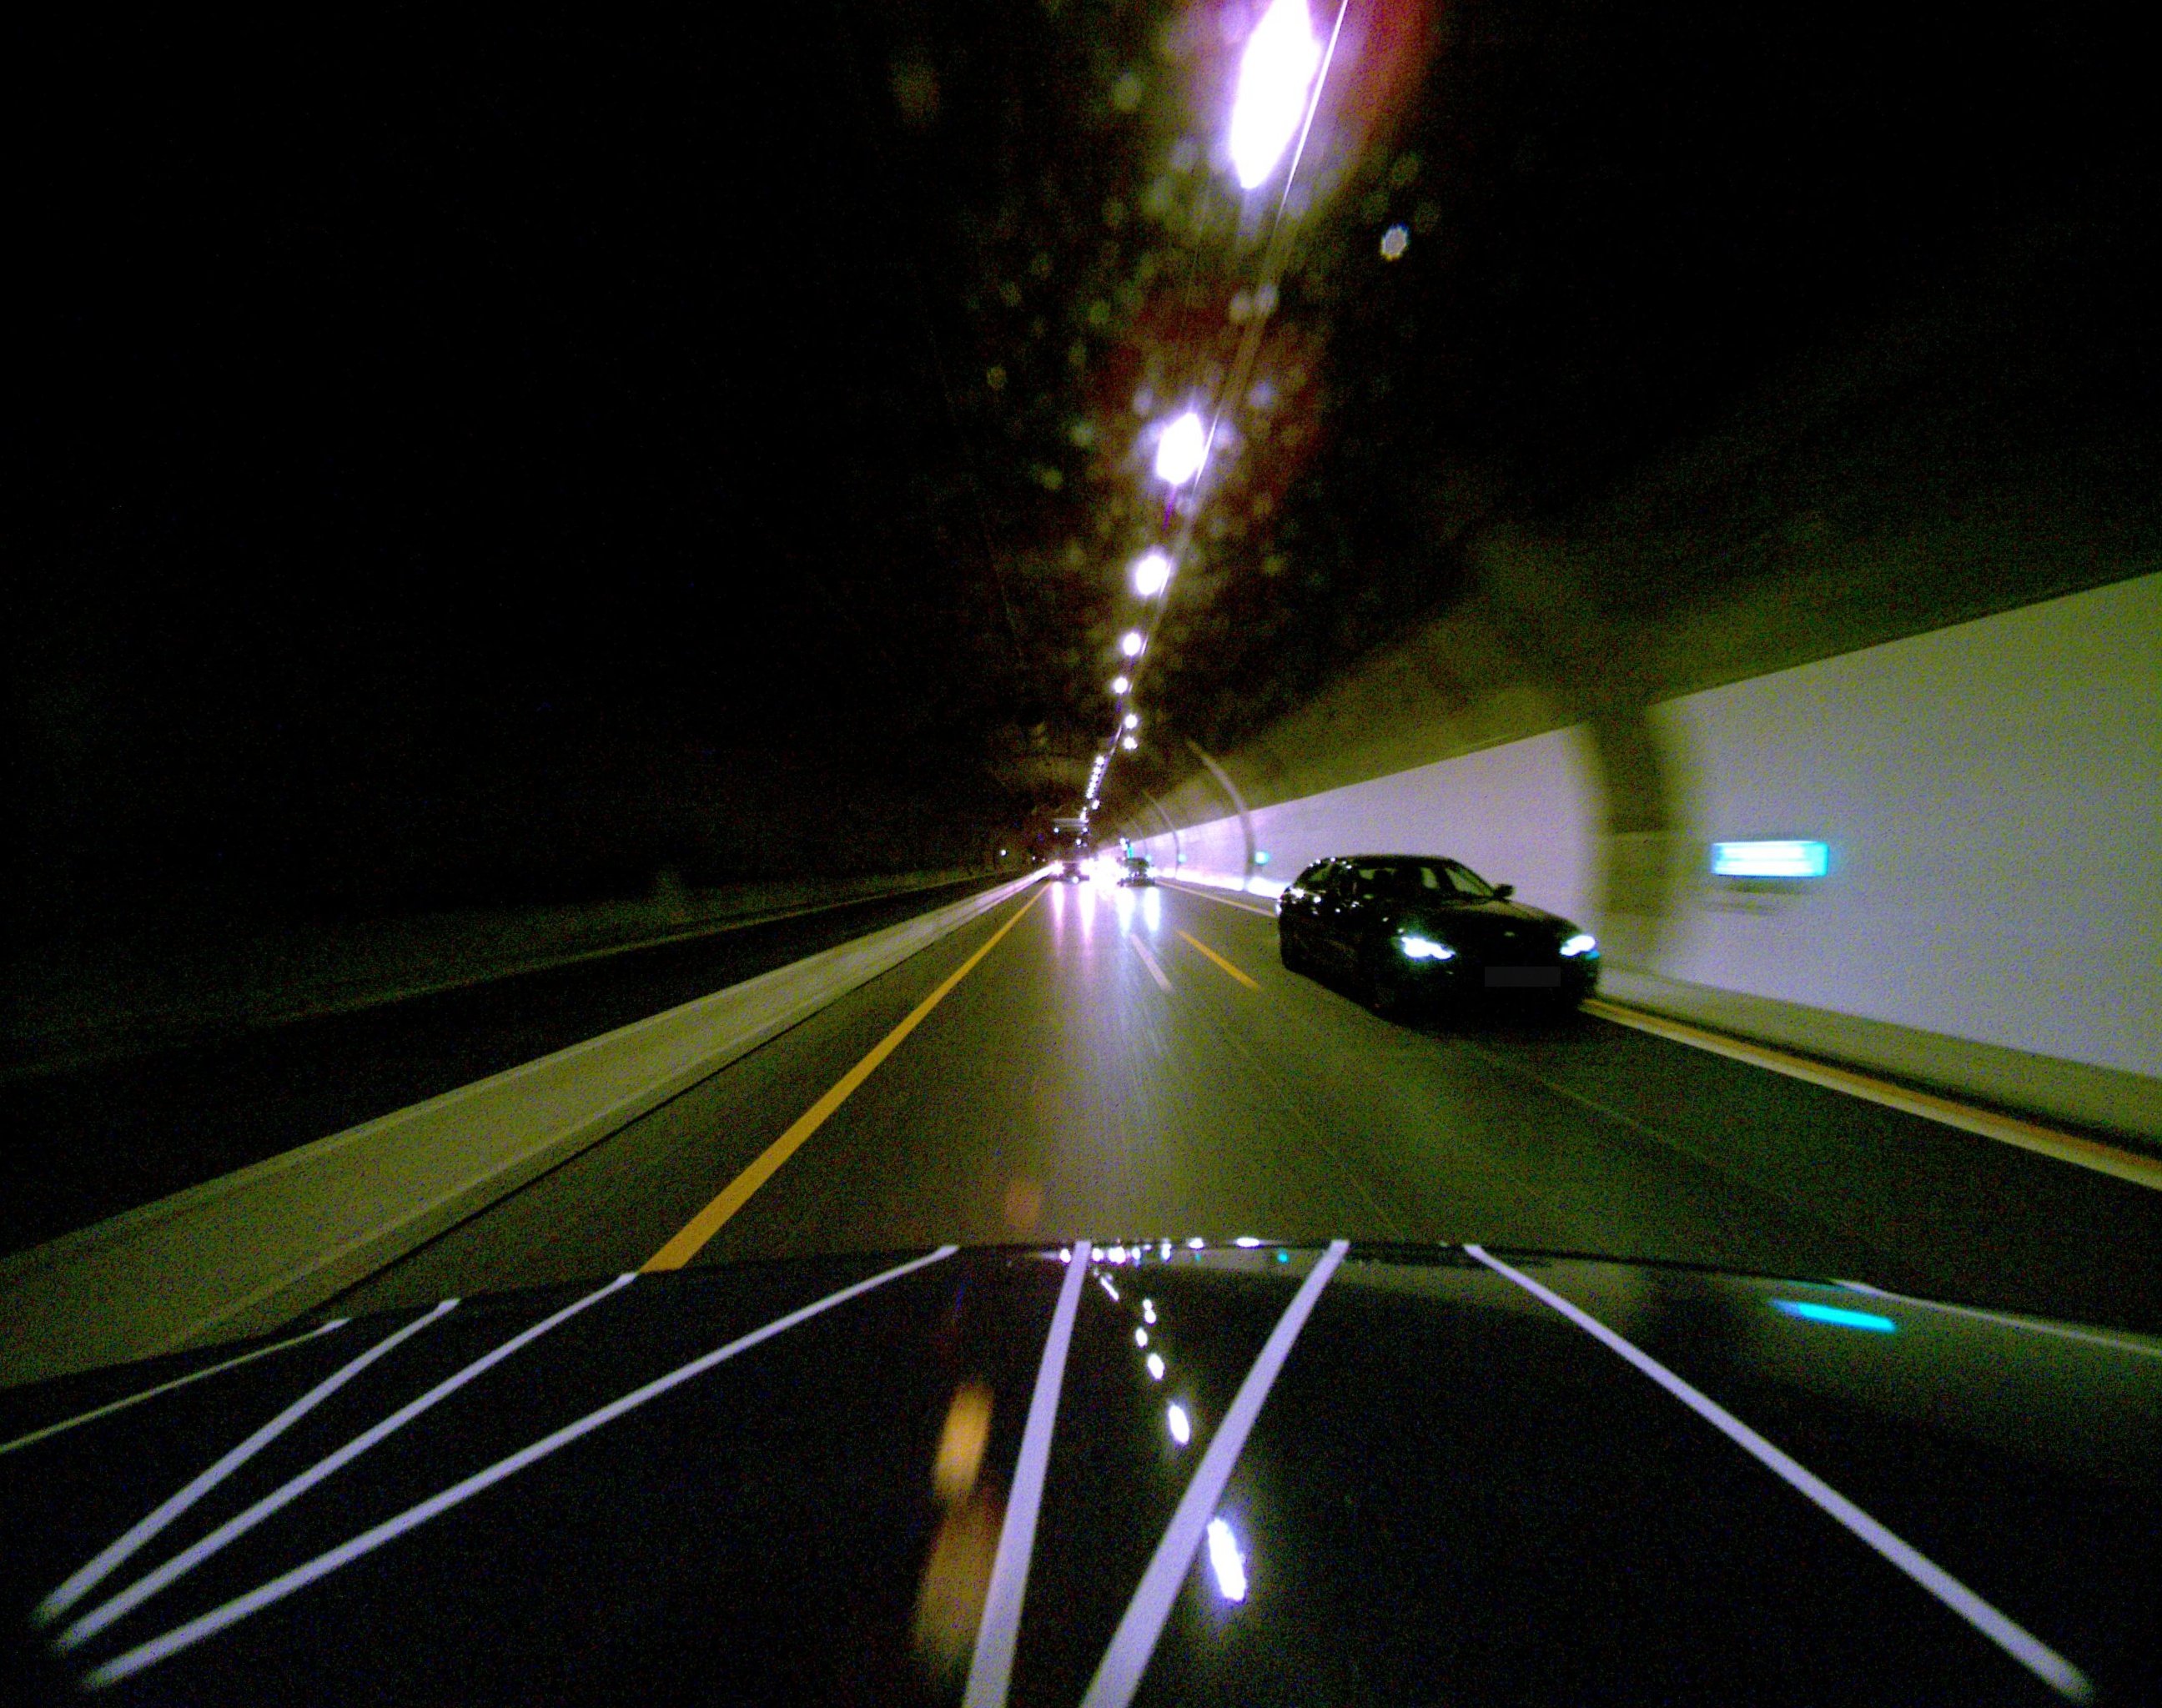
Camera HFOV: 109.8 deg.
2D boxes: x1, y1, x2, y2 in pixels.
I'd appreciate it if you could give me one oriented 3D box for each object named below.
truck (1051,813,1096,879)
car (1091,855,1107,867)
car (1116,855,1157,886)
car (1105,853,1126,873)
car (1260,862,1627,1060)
[{"bbox_3d":[-0.500,-0.538,53.027,2.742,4.127,8.099,-2,0,0],"label":"truck"},{"bbox_3d":[2.281,0.848,98.697,1.909,1.412,4.060,-2,0,0],"label":"car"},{"bbox_3d":[2.897,0.814,40.257,1.782,1.430,4.882,-2,0,0],"label":"car"},{"bbox_3d":[2.784,0.734,61.682,1.531,1.508,2.651,-2,0,0],"label":"car"},{"bbox_3d":[3.429,0.869,8.429,1.782,1.430,4.883,-2,0,1],"label":"car"}]
